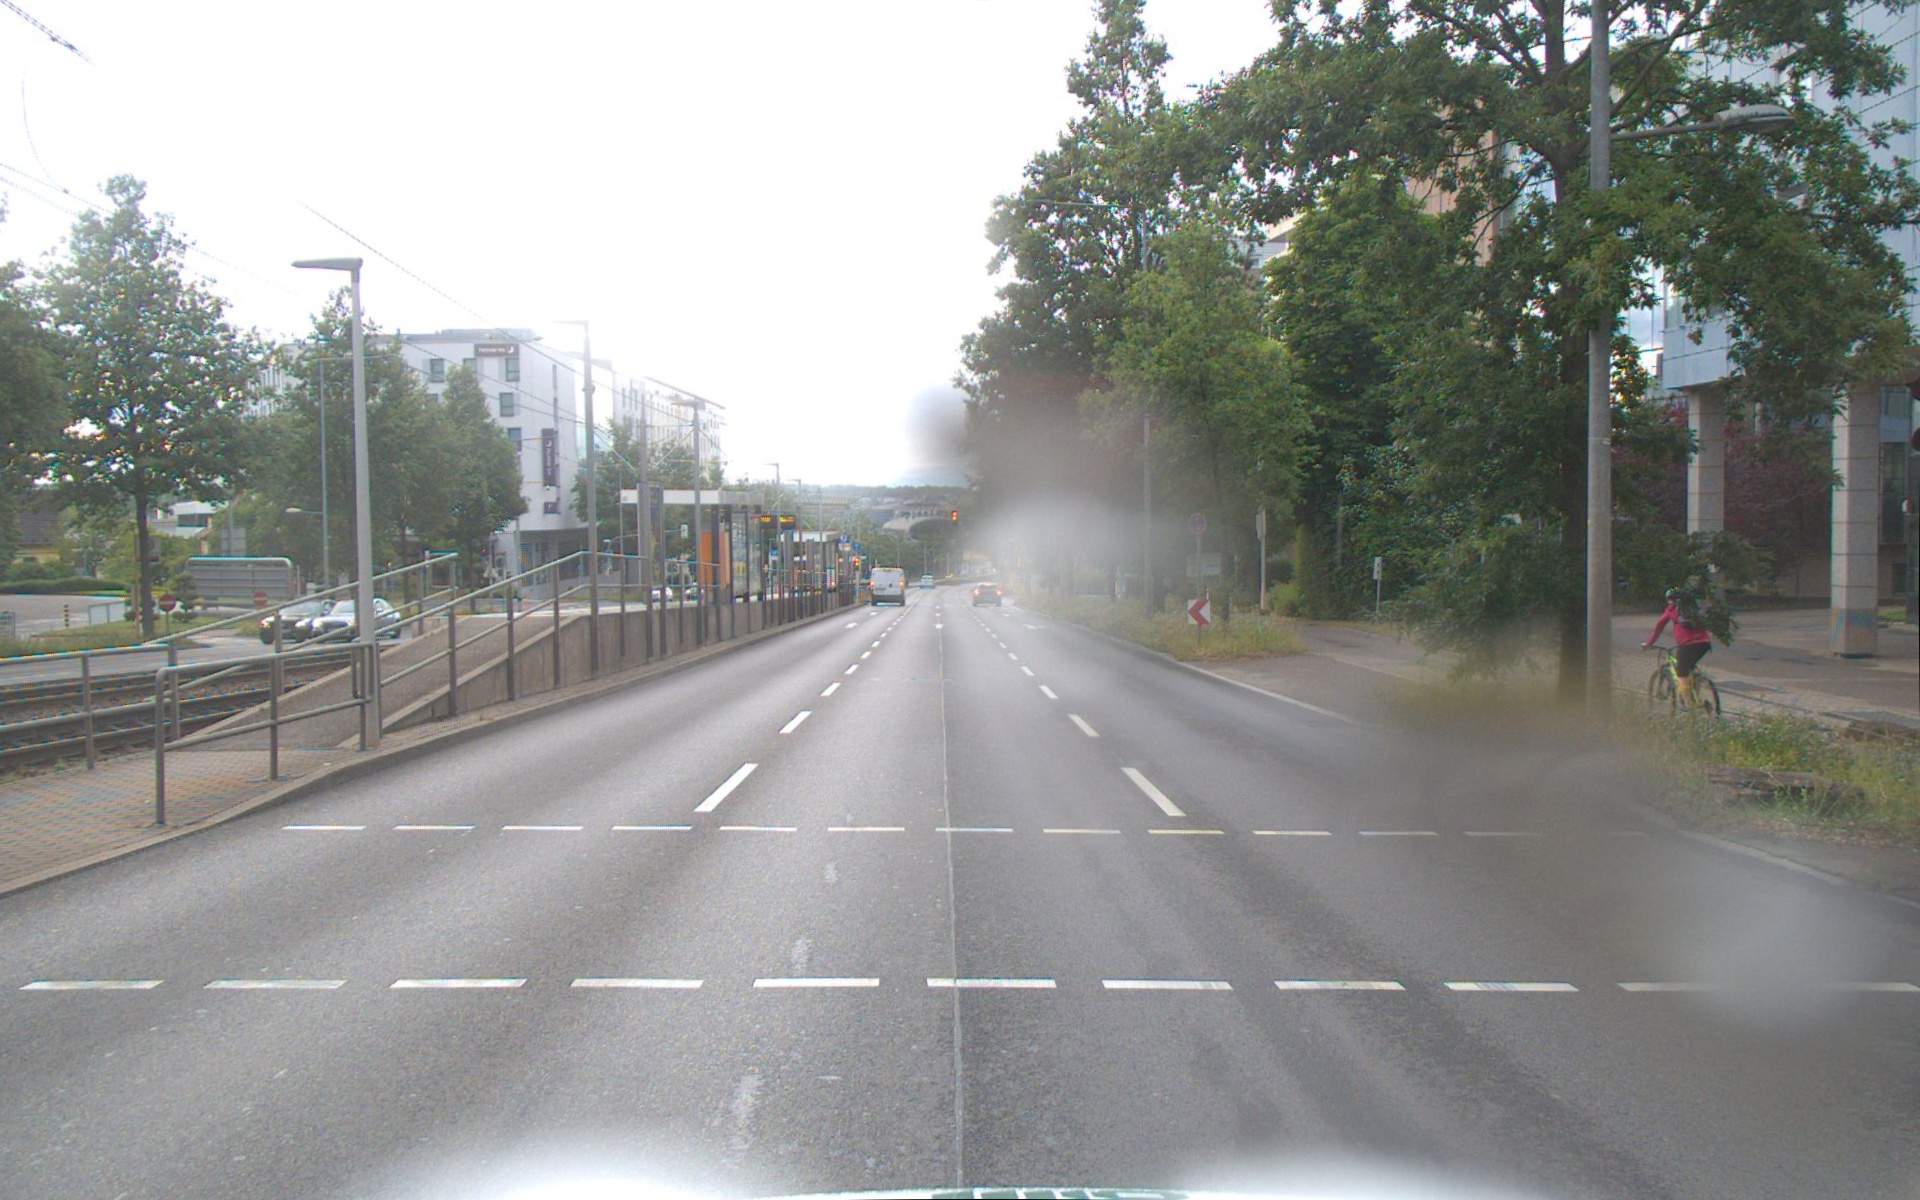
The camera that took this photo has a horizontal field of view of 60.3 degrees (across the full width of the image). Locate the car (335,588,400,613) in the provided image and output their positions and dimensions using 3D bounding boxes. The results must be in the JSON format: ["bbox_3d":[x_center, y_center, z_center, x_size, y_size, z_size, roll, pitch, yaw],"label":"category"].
[{"bbox_3d":[-34.021,0.040,95.036,3.297,1.411,1.434,0,1,16],"label":"car"}]

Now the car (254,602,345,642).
[{"bbox_3d":[-22.888,0.735,57.422,1.616,1.258,3.968,0,1,-1],"label":"car"}]

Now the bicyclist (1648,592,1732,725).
[{"bbox_3d":[9.094,0.710,20.621,0.633,1.606,0.854,1,0,-1],"label":"bicyclist"}]

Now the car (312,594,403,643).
[{"bbox_3d":[-19.786,0.576,54.457,1.617,1.461,3.878,-2,1,-2],"label":"car"}]

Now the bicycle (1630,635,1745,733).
[{"bbox_3d":[9.118,1.030,20.810,0.569,1.107,1.905,1,1,-1],"label":"bicycle"}]

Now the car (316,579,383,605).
[{"bbox_3d":[-33.909,-0.460,91.836,3.297,1.411,1.434,0,1,16],"label":"car"}]

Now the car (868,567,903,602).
[{"bbox_3d":[-4.580,-0.975,102.443,2.050,2.089,4.605,0,1,-1],"label":"car"}]

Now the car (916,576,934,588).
[{"bbox_3d":[-4.221,-2.131,197.709,1.745,1.414,4.002,0,1,4],"label":"car"}]

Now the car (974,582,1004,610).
[{"bbox_3d":[1.797,-0.249,102.820,1.738,1.720,3.845,0,1,-1],"label":"car"}]
